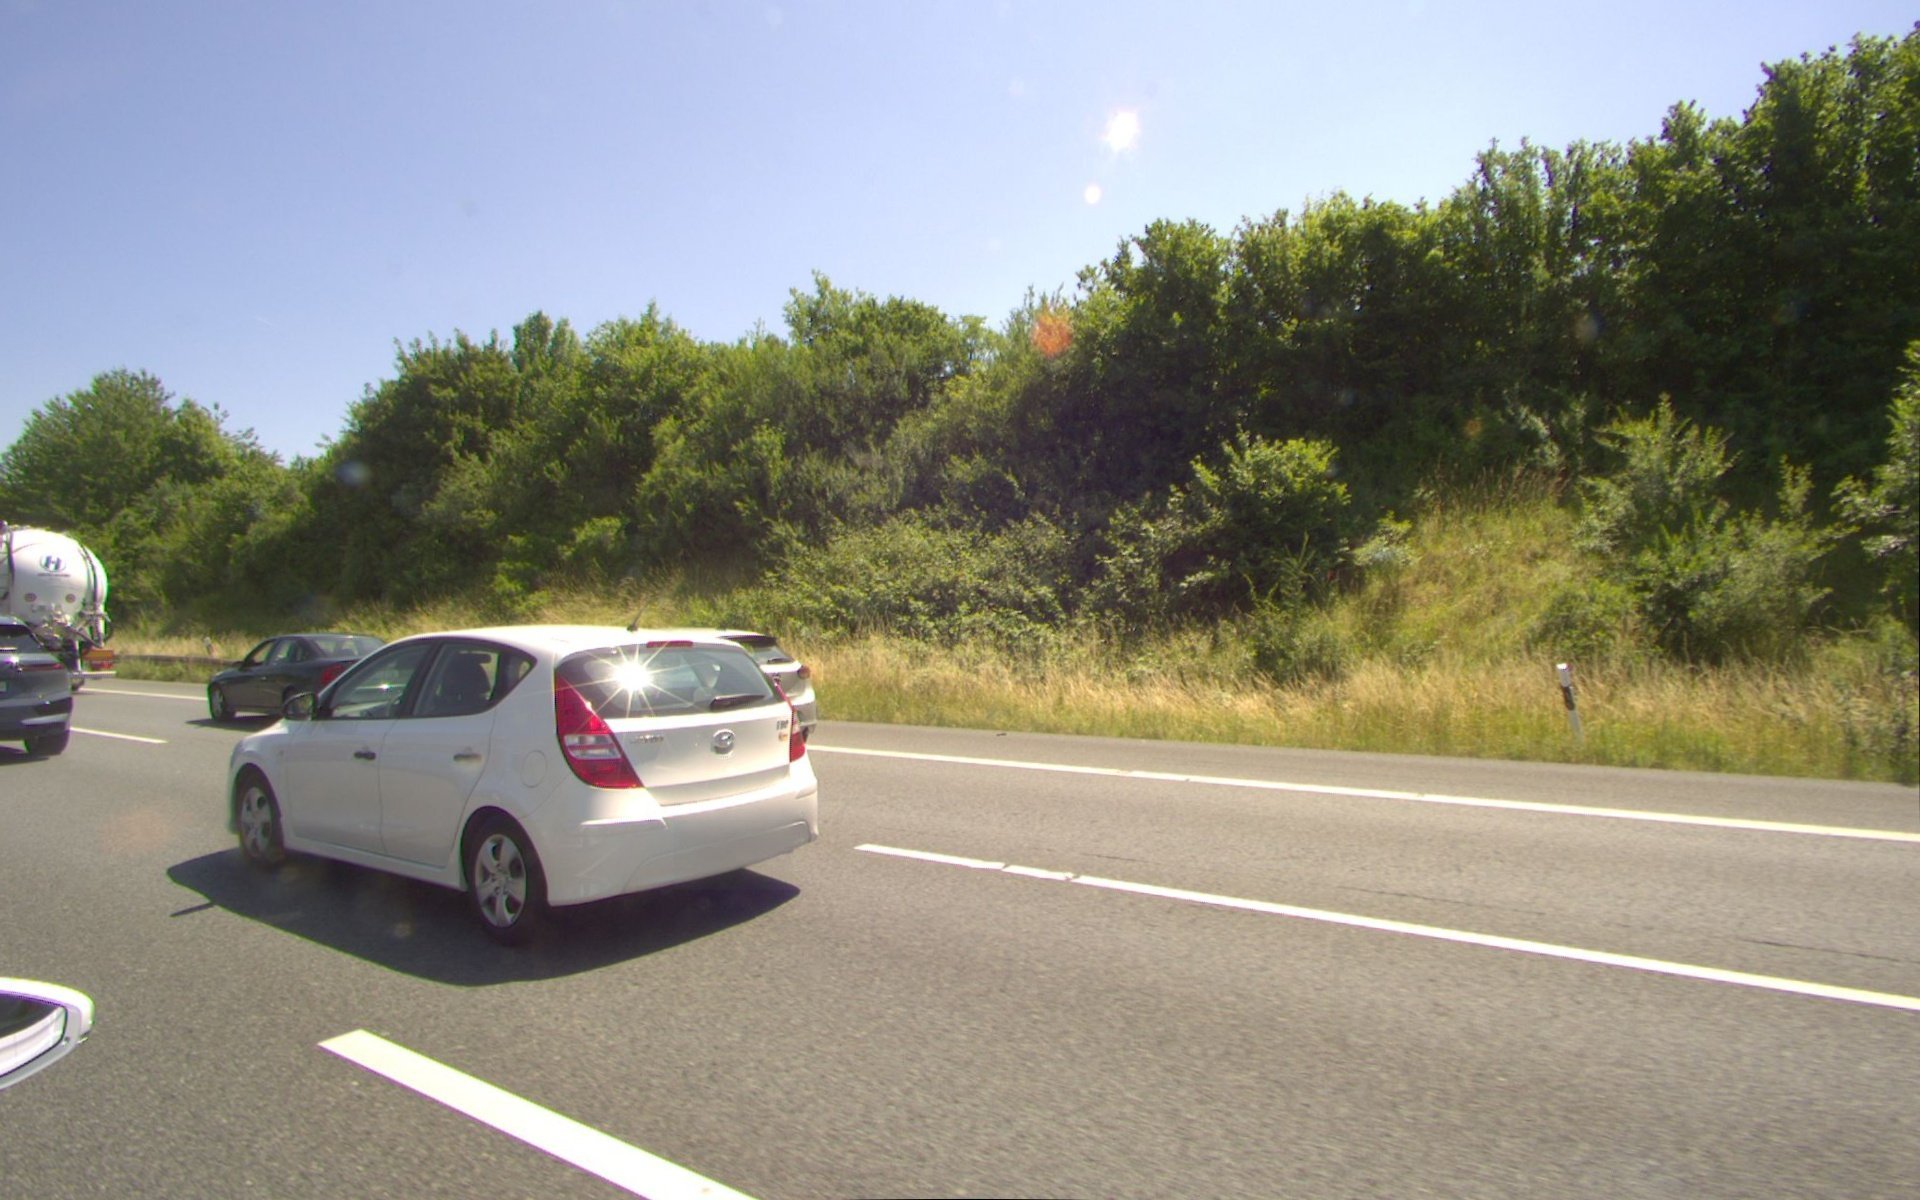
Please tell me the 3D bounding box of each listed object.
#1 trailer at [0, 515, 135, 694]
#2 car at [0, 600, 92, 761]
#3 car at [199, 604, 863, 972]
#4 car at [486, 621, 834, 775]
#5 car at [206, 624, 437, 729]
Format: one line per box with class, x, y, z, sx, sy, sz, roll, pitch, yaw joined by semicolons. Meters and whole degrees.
trailer;-25.183;0.193;25.760;11.323;3.895;2.755;-1;-1;33
car;-12.394;0.933;11.913;4.562;1.737;1.995;-2;-1;34
car;-2.679;0.832;5.972;3.946;1.504;1.812;-2;-1;34
car;-3.546;1.000;11.627;3.971;1.462;1.727;0;0;33
car;-10.185;1.149;15.899;3.934;1.435;1.637;-2;0;34
